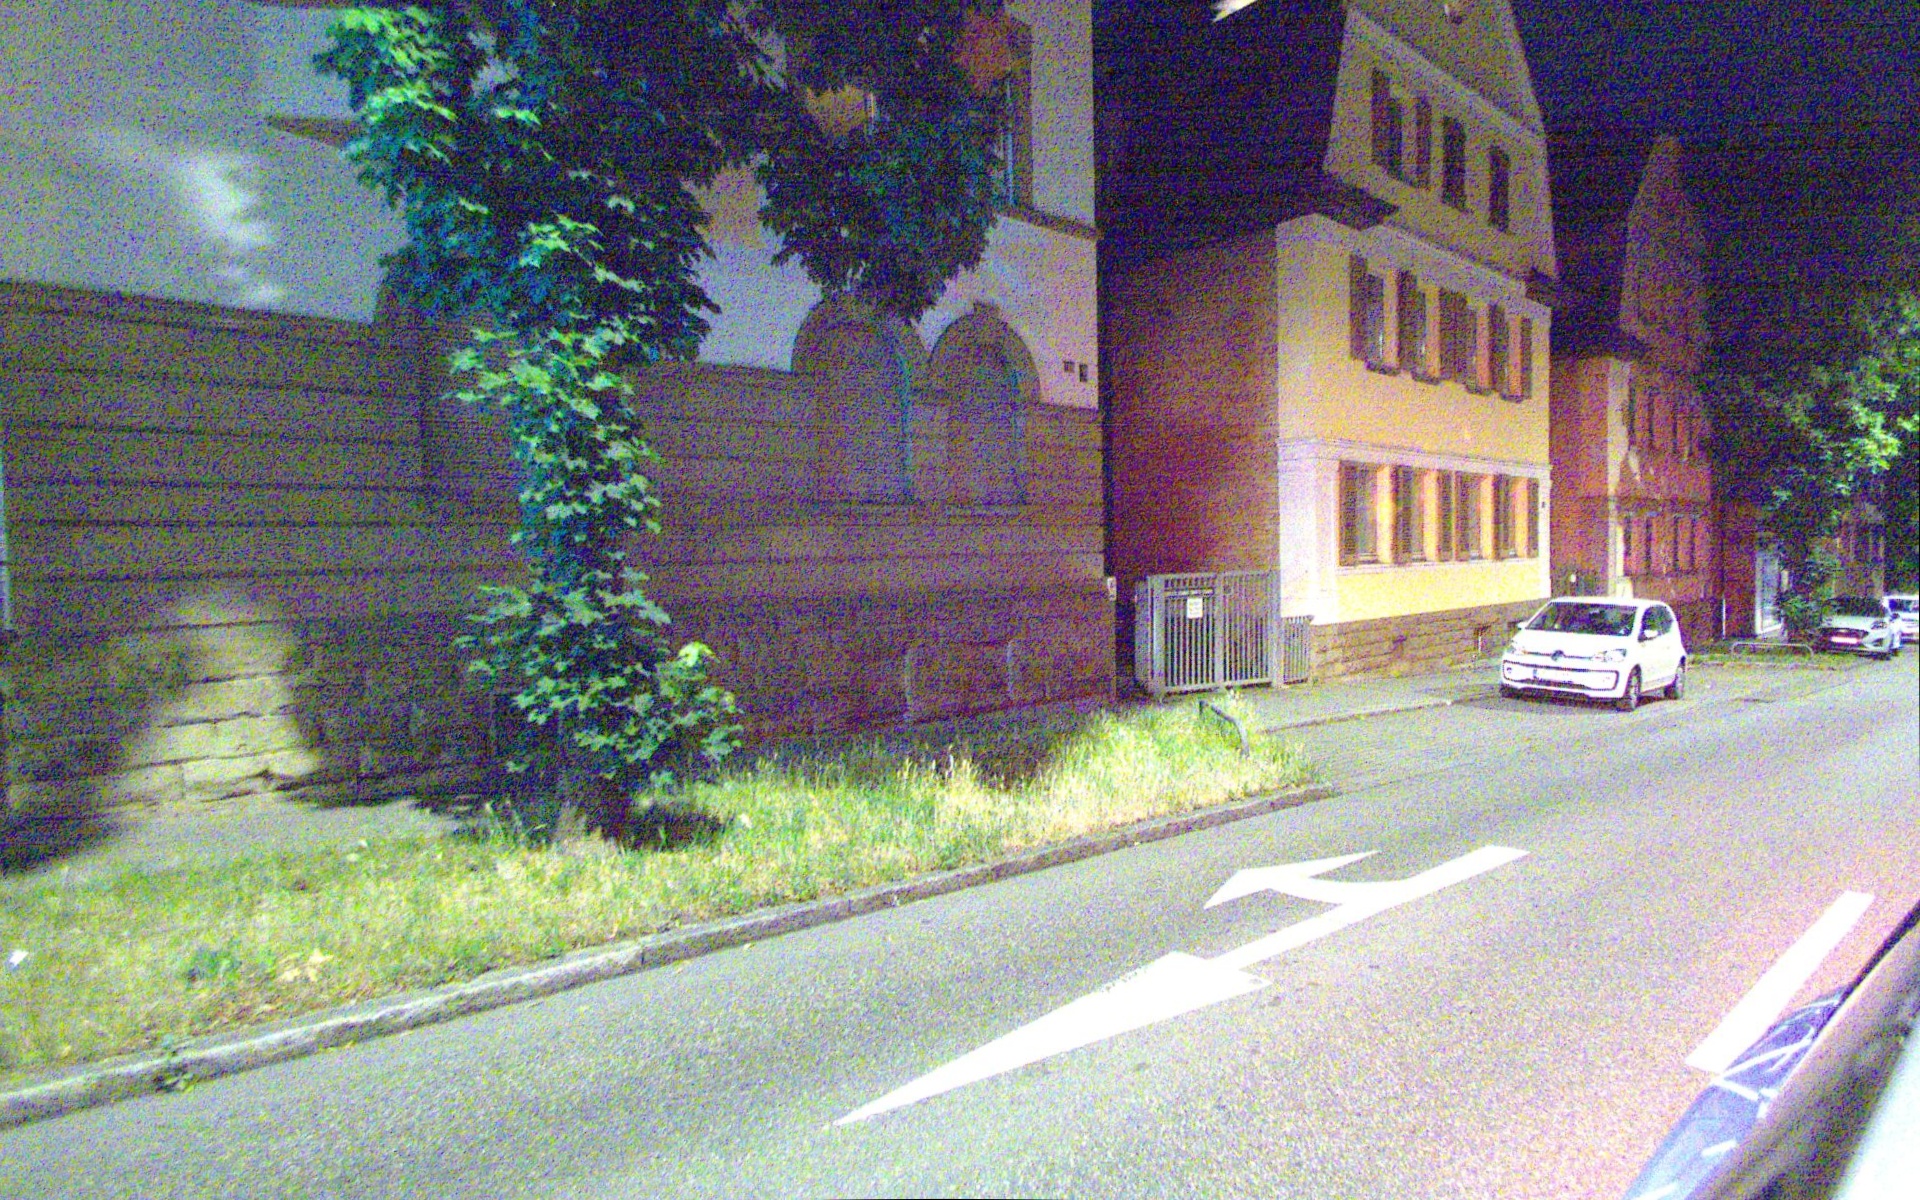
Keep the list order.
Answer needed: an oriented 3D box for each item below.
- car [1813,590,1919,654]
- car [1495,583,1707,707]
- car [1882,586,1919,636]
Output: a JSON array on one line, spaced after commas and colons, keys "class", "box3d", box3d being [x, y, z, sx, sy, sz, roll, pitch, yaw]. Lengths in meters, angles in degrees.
[{"class": "car", "box3d": [23.611, 0.509, 26.281, 3.824, 1.516, 1.740, 0, 2, -43]}, {"class": "car", "box3d": [9.243, 0.556, 14.509, 3.425, 1.527, 1.610, 0, 2, -41]}, {"class": "car", "box3d": [33.535, 0.369, 35.139, 4.107, 1.673, 1.850, 0, 0, -42]}]
